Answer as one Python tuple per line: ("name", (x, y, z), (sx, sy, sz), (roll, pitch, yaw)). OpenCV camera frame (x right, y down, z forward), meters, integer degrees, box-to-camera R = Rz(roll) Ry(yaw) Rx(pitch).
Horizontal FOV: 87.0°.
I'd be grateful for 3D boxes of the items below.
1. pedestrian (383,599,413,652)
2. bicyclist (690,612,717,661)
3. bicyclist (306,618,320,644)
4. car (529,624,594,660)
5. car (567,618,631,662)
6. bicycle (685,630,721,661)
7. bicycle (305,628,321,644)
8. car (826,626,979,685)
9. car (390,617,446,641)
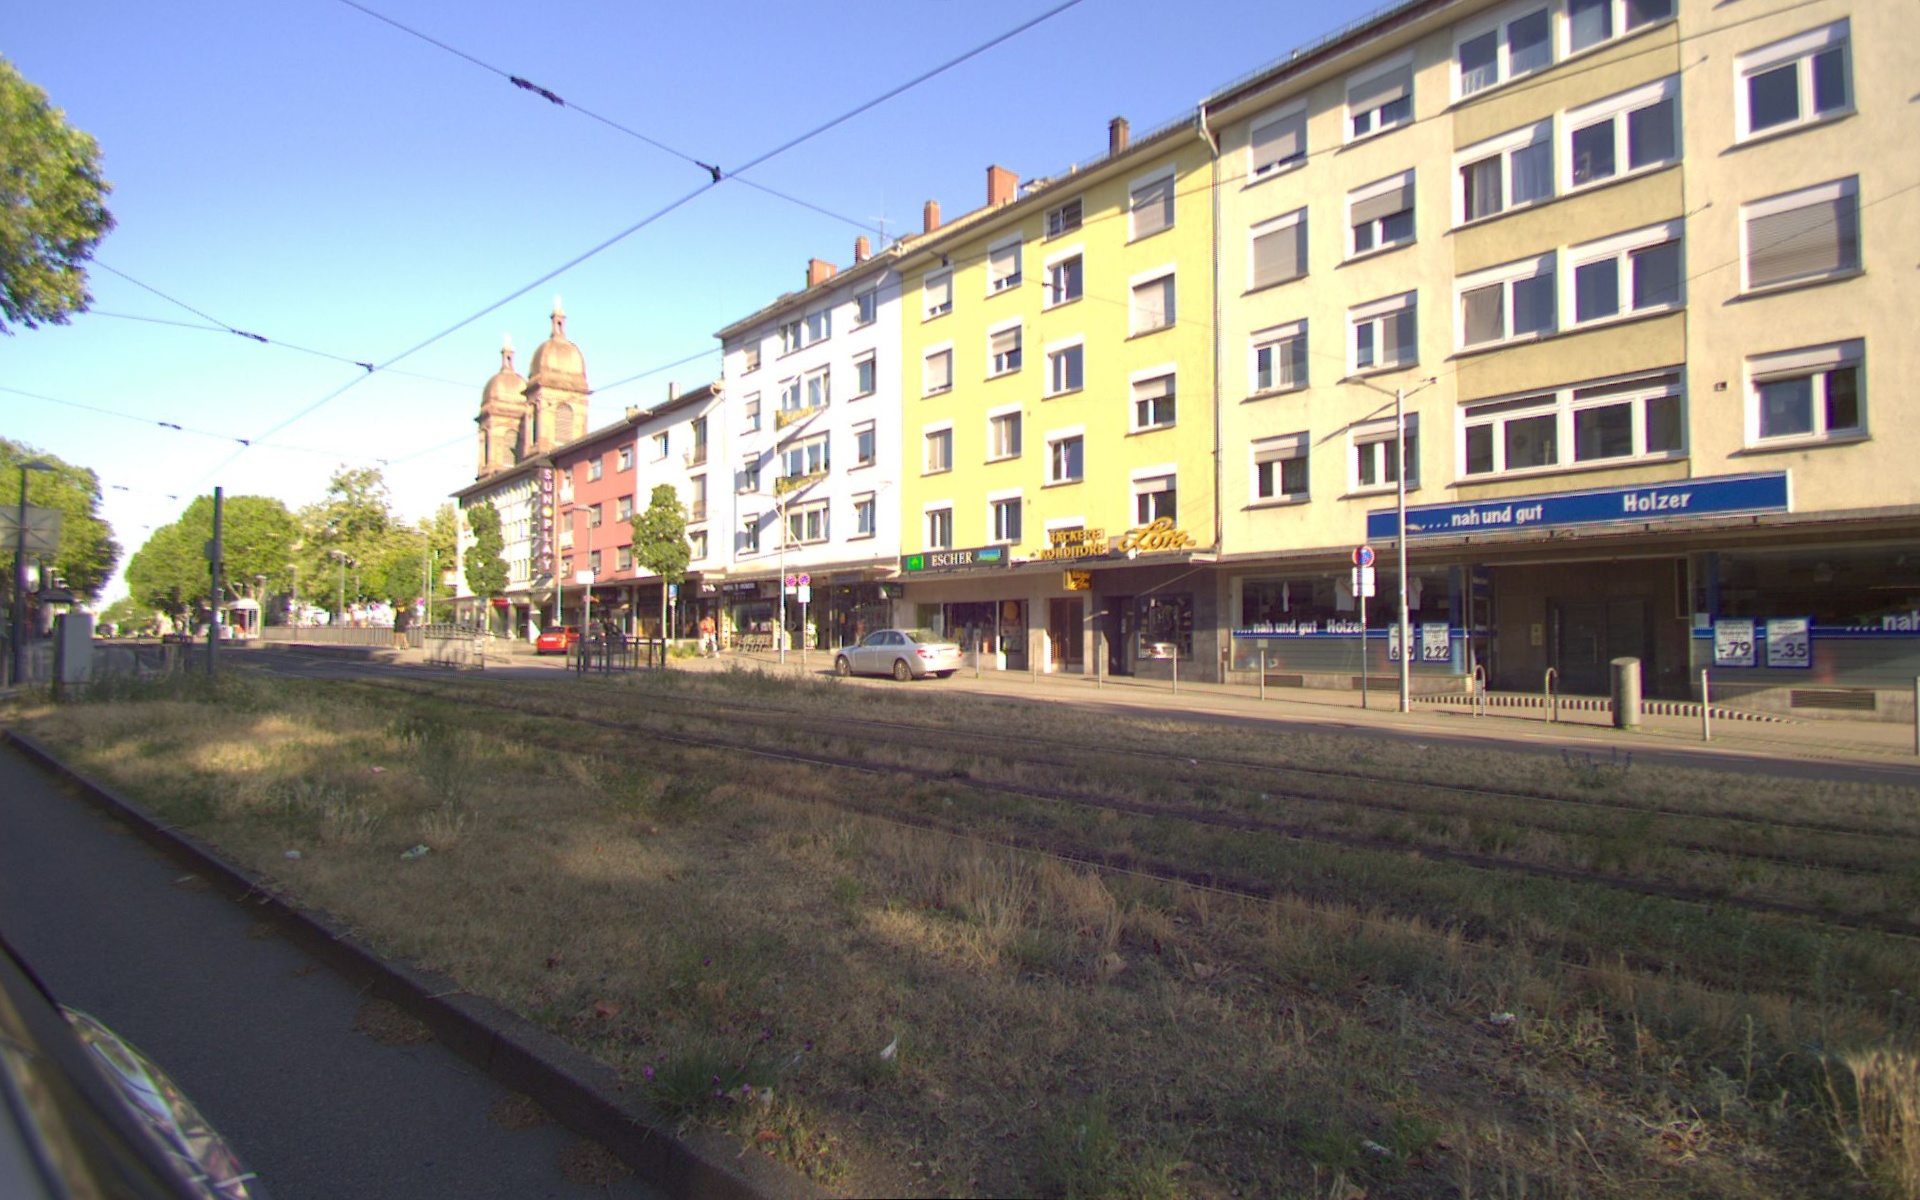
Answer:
("pedestrian", (-19.968, 0.917, 35.957), (0.590, 1.863, 0.733), (-2, -3, 43))
("bicyclist", (-10.404, 1.463, 41.075), (0.683, 1.900, 1.060), (-3, 2, -32))
("bicyclist", (-51.465, 2.490, 80.509), (0.754, 2.029, 0.912), (3, -3, -42))
("car", (-19.266, 1.999, 49.062), (1.836, 1.502, 3.773), (-1, 0, -3))
("car", (-16.834, 1.823, 47.361), (1.836, 1.813, 3.773), (-1, 0, -3))
("bicycle", (-10.485, 1.838, 41.258), (0.696, 1.167, 2.204), (-3, 1, -33))
("bicycle", (-51.475, 2.883, 80.498), (0.709, 1.239, 2.281), (3, -3, -42))
("car", (-1.715, 1.537, 29.103), (1.970, 1.489, 4.414), (-1, 0, -44))
("car", (-37.575, 1.984, 70.245), (1.720, 1.497, 3.998), (-1, 0, 1))
